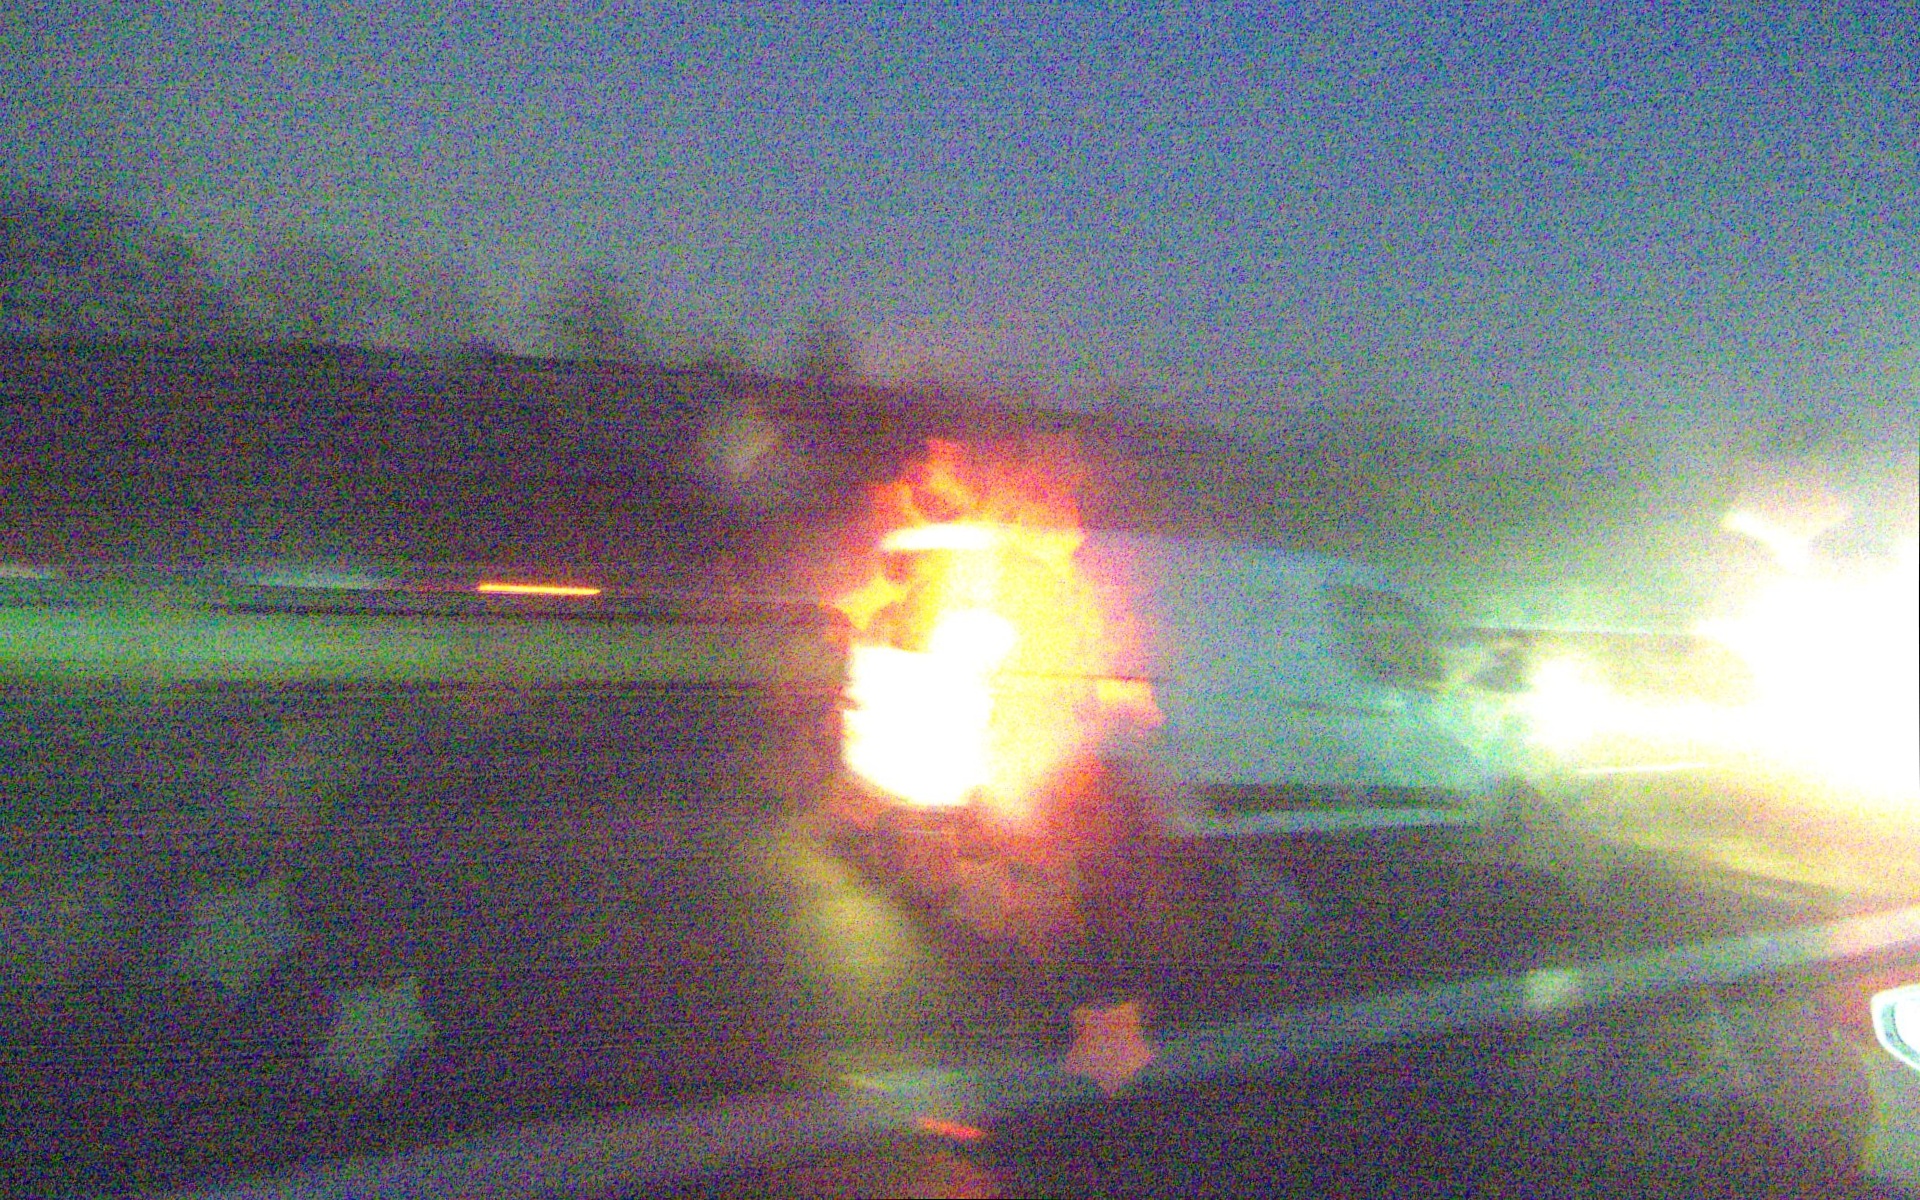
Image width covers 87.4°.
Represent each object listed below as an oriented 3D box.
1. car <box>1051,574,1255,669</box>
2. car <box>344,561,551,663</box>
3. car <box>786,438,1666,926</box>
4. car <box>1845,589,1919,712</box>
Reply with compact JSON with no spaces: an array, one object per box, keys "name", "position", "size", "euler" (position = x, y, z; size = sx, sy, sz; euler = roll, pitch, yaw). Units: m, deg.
[{"name":"car","position":[4.742,0.533,24.699],"size":[4.503,2.041,1.988],"euler":[2,3,-23]},{"name":"car","position":[-11.426,0.271,22.664],"size":[3.946,2.041,1.987],"euler":[2,3,-25]},{"name":"car","position":[1.633,0.423,6.095],"size":[4.946,2.040,1.989],"euler":[2,0,-23]},{"name":"car","position":[18.552,0.974,18.252],"size":[4.507,2.041,1.987],"euler":[2,3,-26]}]
